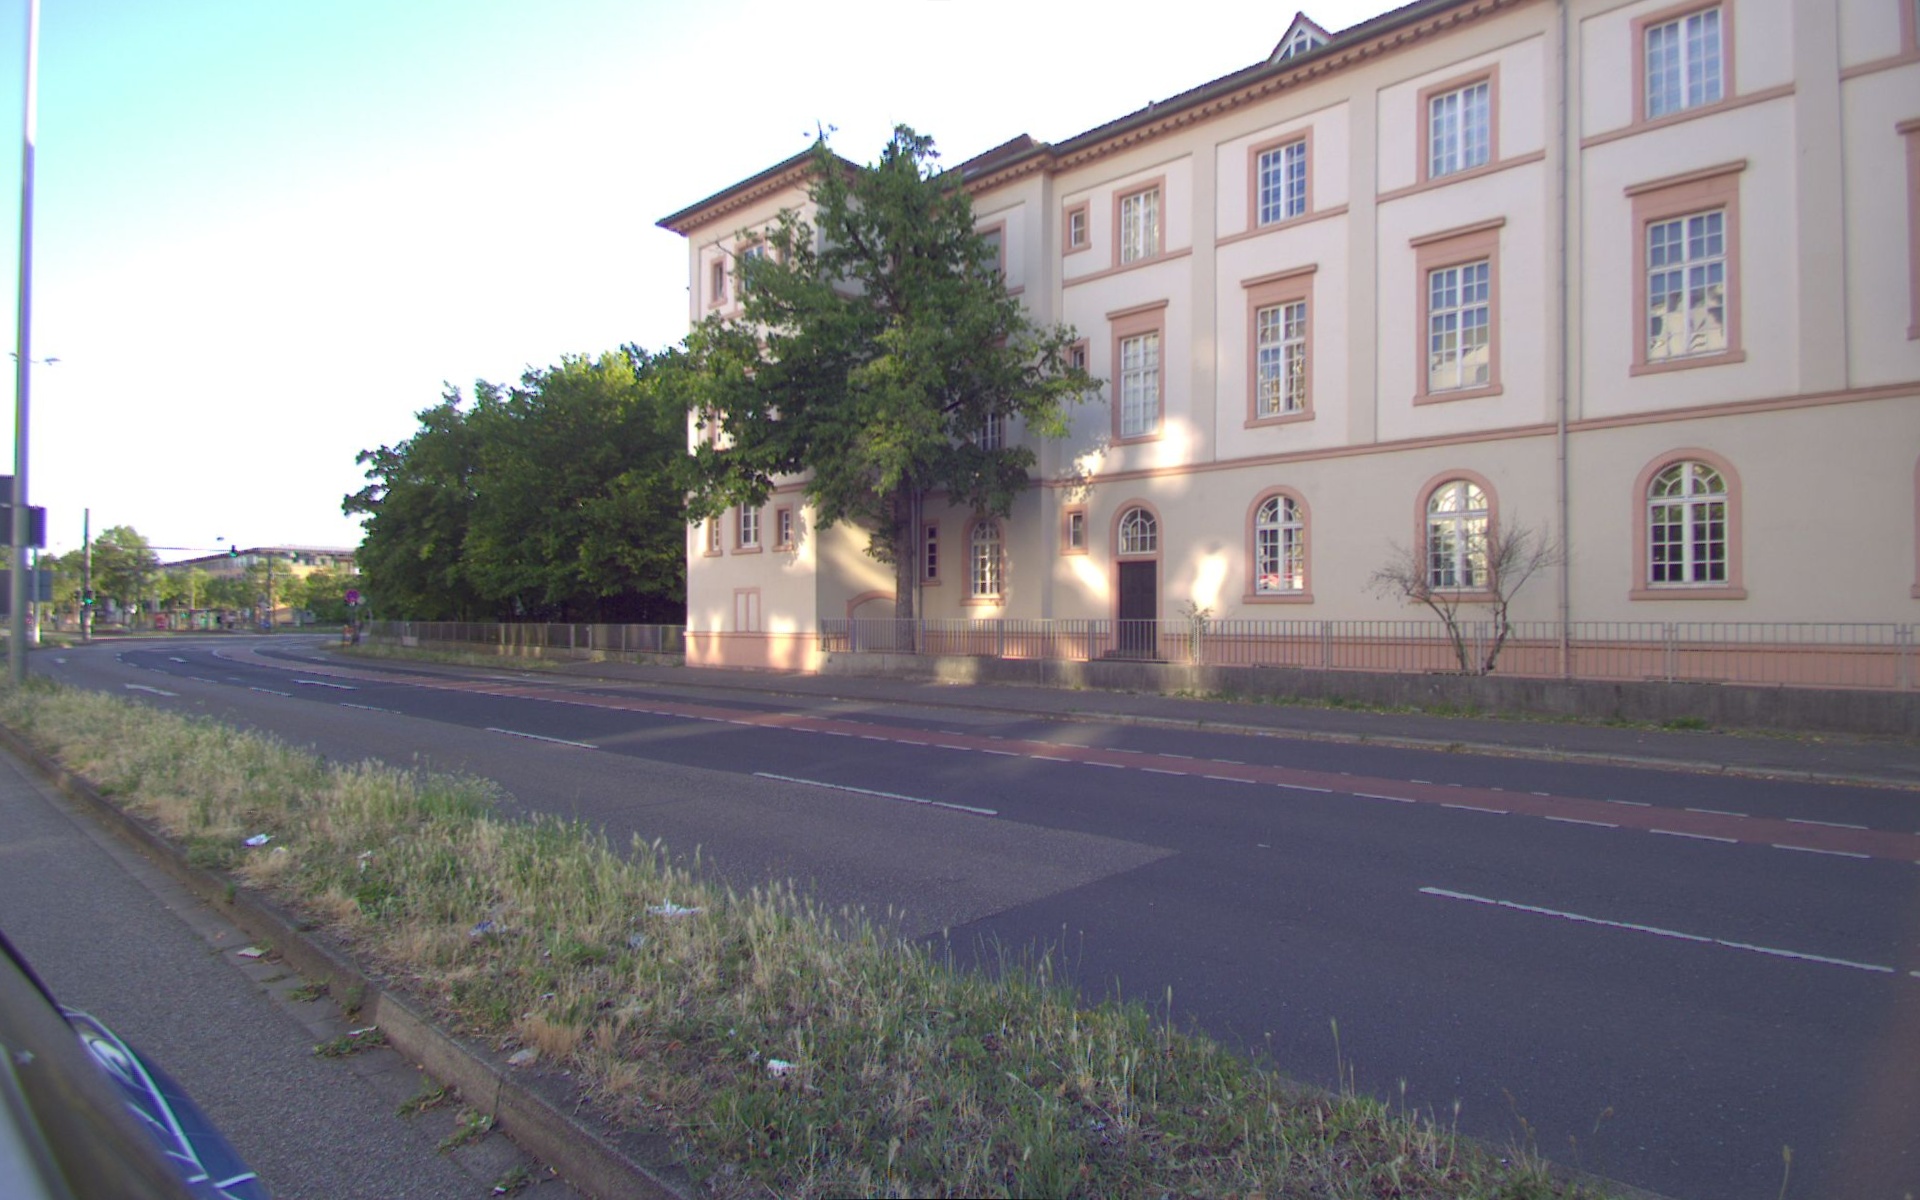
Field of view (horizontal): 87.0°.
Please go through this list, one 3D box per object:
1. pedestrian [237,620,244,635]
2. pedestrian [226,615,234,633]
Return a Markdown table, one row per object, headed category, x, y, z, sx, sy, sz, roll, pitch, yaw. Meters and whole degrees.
| category | x | y | z | sx | sy | sz | roll | pitch | yaw |
| --- | --- | --- | --- | --- | --- | --- | --- | --- | --- |
| pedestrian | -81.408 | 3.091 | 114.509 | 0.419 | 1.718 | 0.461 | -1 | -2 | 41 |
| pedestrian | -83.253 | 2.729 | 115.433 | 0.664 | 2.029 | 0.549 | -1 | -2 | 41 |
